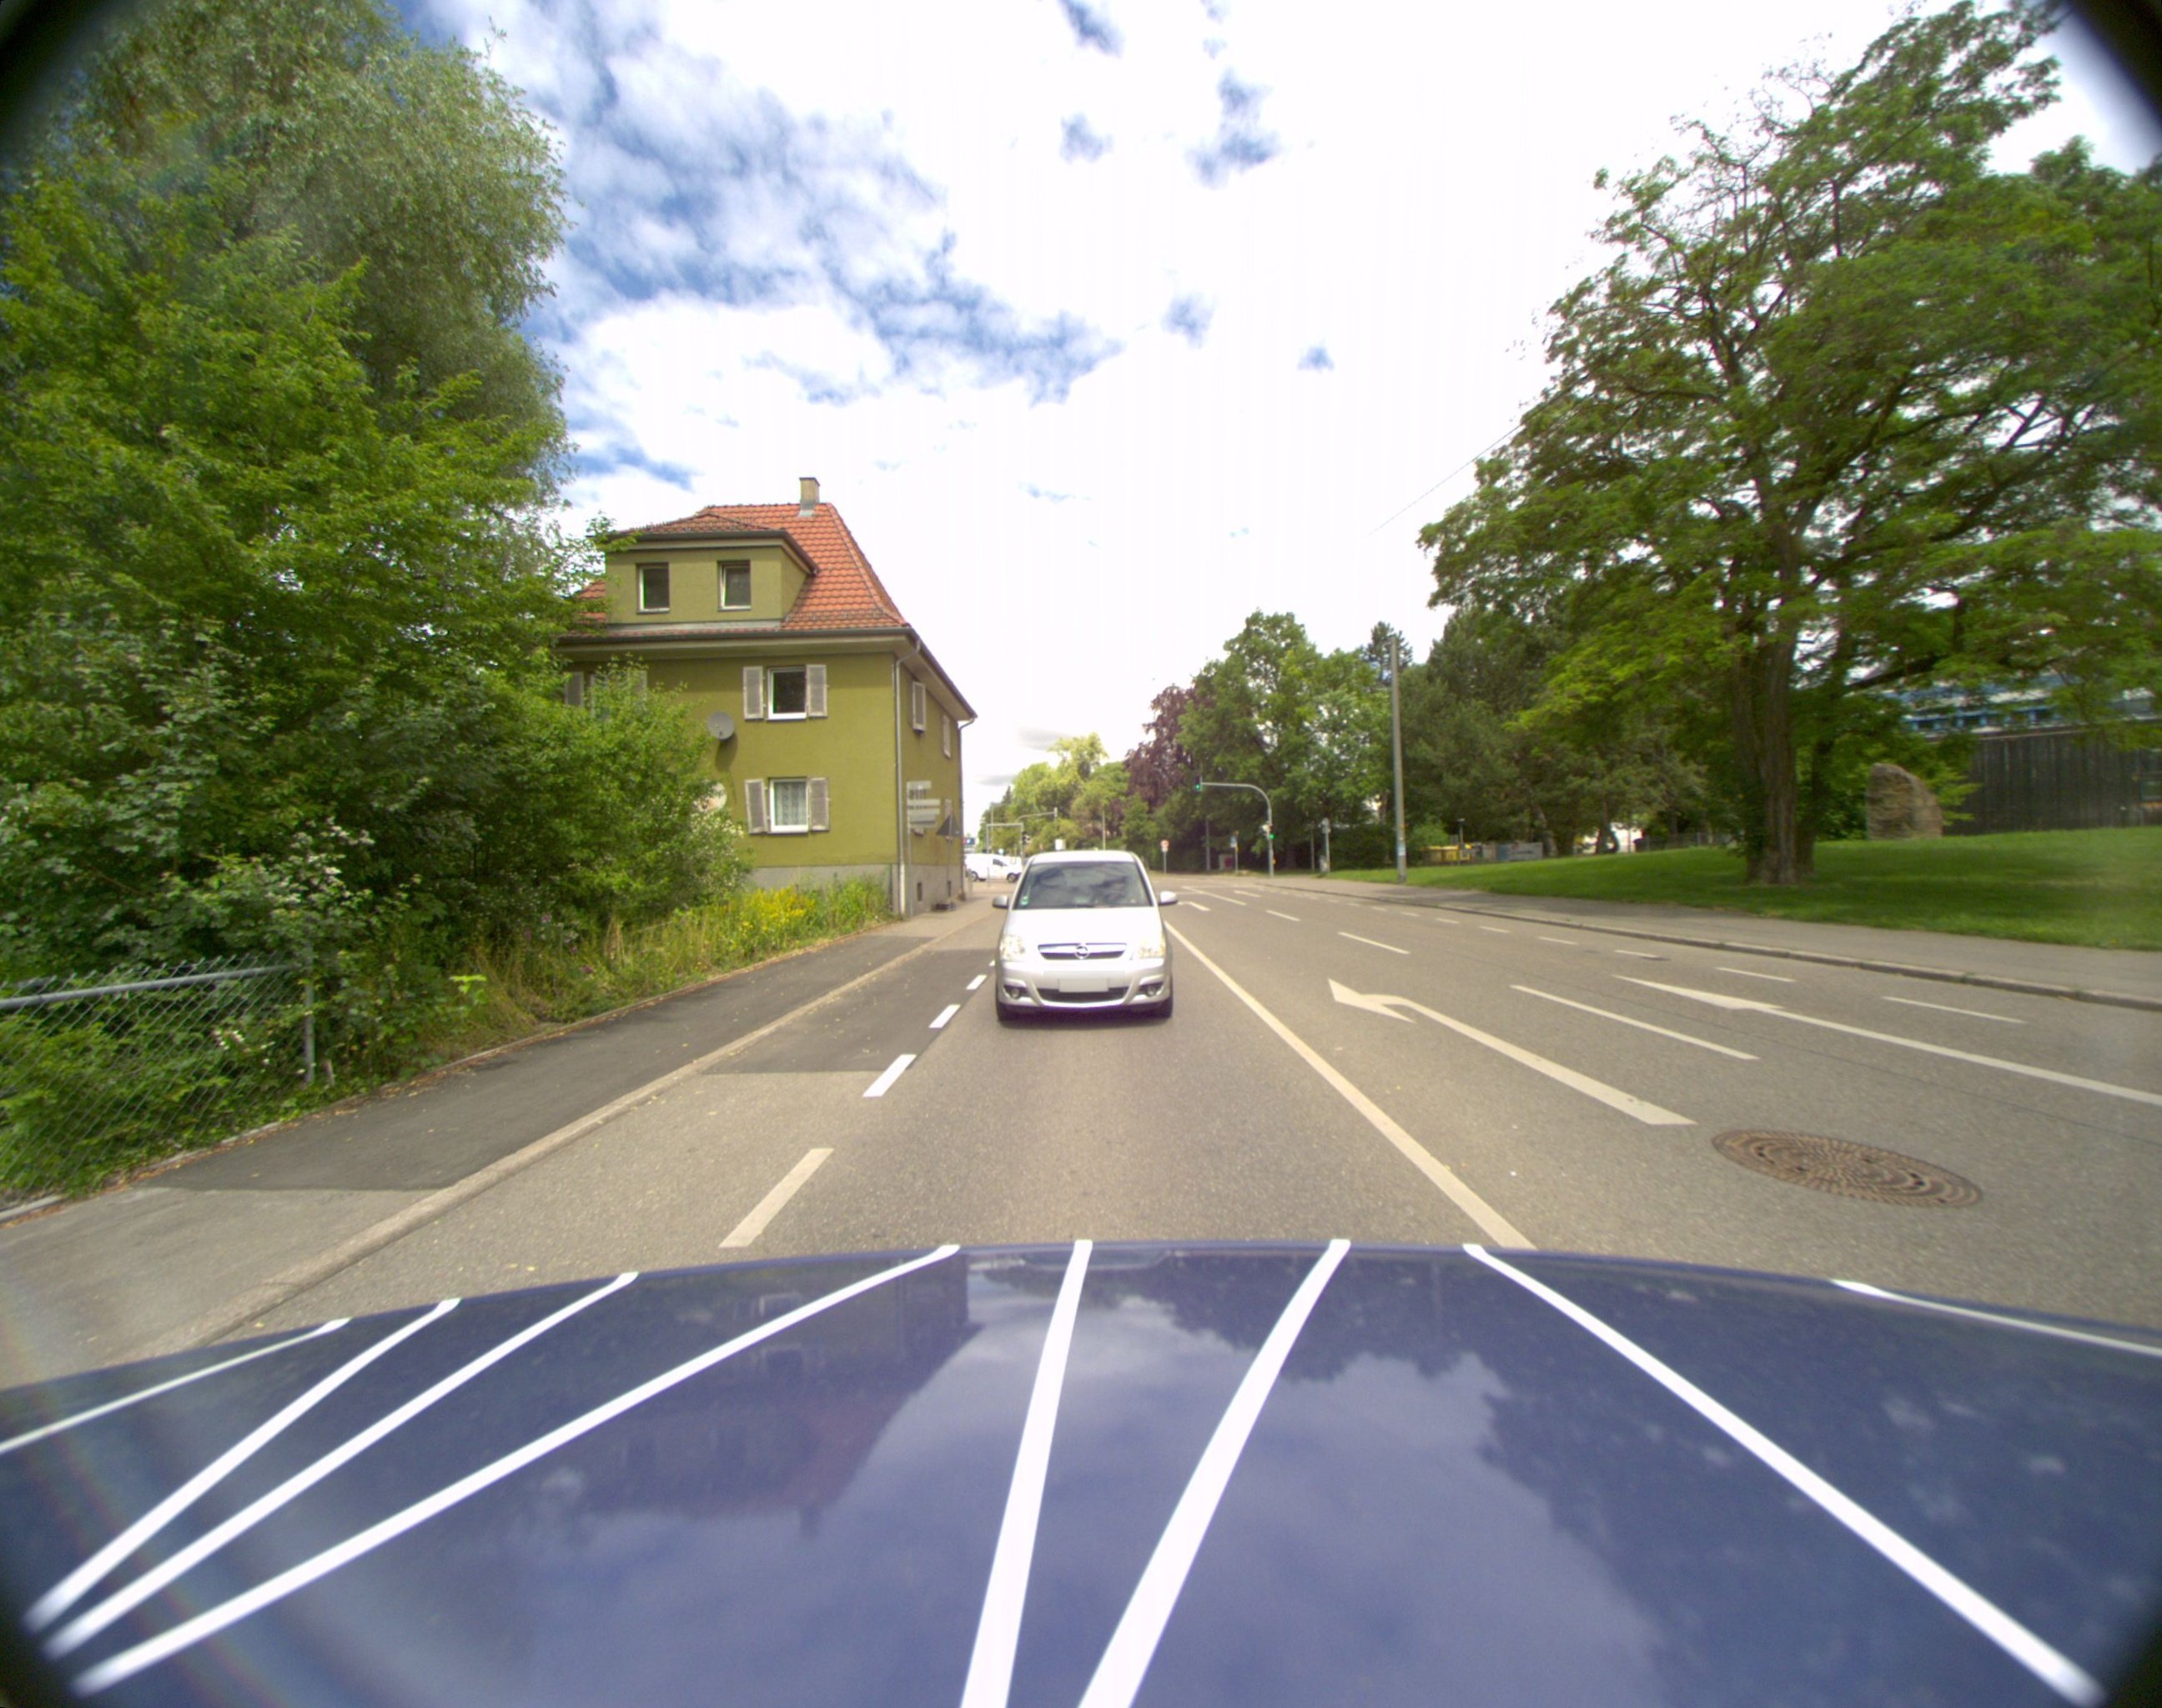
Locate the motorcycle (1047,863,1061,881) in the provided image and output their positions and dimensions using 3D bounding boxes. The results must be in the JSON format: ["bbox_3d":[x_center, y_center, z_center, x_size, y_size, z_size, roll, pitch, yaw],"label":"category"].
[{"bbox_3d":[-1.705,1.108,47.680,0.837,1.101,1.800,0,0,0],"label":"motorcycle"}]

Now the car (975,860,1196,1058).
[{"bbox_3d":[0.095,0.874,8.192,1.780,1.519,4.000,-1,1,2],"label":"car"}]

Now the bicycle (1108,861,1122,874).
[{"bbox_3d":[2.936,1.170,66.002,0.814,1.101,1.799,-3,0,-8],"label":"bicycle"}]

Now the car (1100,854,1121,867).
[{"bbox_3d":[3.461,0.788,89.102,1.900,1.501,3.998,-1,0,-7],"label":"car"}]

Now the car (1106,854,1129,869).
[{"bbox_3d":[3.985,0.821,84.227,1.900,1.501,3.998,-1,0,-7],"label":"car"}]

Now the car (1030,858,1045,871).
[{"bbox_3d":[-5.902,1.408,103.401,1.799,1.501,4.000,-4,0,0],"label":"car"}]

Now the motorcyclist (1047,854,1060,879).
[{"bbox_3d":[-1.717,0.798,47.703,0.837,1.547,0.650,0,1,0],"label":"motorcyclist"}]

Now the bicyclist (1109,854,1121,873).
[{"bbox_3d":[2.918,0.837,66.005,0.807,1.599,0.771,-3,1,-8],"label":"bicyclist"}]

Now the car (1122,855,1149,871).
[{"bbox_3d":[5.304,0.897,74.440,1.900,1.501,3.998,-1,0,-7],"label":"car"}]

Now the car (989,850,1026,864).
[{"bbox_3d":[-9.436,0.347,97.520,4.490,1.787,1.804,0,1,33],"label":"car"}]

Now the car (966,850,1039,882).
[{"bbox_3d":[-5.198,0.797,50.548,4.363,1.983,2.002,-1,1,14],"label":"car"}]
